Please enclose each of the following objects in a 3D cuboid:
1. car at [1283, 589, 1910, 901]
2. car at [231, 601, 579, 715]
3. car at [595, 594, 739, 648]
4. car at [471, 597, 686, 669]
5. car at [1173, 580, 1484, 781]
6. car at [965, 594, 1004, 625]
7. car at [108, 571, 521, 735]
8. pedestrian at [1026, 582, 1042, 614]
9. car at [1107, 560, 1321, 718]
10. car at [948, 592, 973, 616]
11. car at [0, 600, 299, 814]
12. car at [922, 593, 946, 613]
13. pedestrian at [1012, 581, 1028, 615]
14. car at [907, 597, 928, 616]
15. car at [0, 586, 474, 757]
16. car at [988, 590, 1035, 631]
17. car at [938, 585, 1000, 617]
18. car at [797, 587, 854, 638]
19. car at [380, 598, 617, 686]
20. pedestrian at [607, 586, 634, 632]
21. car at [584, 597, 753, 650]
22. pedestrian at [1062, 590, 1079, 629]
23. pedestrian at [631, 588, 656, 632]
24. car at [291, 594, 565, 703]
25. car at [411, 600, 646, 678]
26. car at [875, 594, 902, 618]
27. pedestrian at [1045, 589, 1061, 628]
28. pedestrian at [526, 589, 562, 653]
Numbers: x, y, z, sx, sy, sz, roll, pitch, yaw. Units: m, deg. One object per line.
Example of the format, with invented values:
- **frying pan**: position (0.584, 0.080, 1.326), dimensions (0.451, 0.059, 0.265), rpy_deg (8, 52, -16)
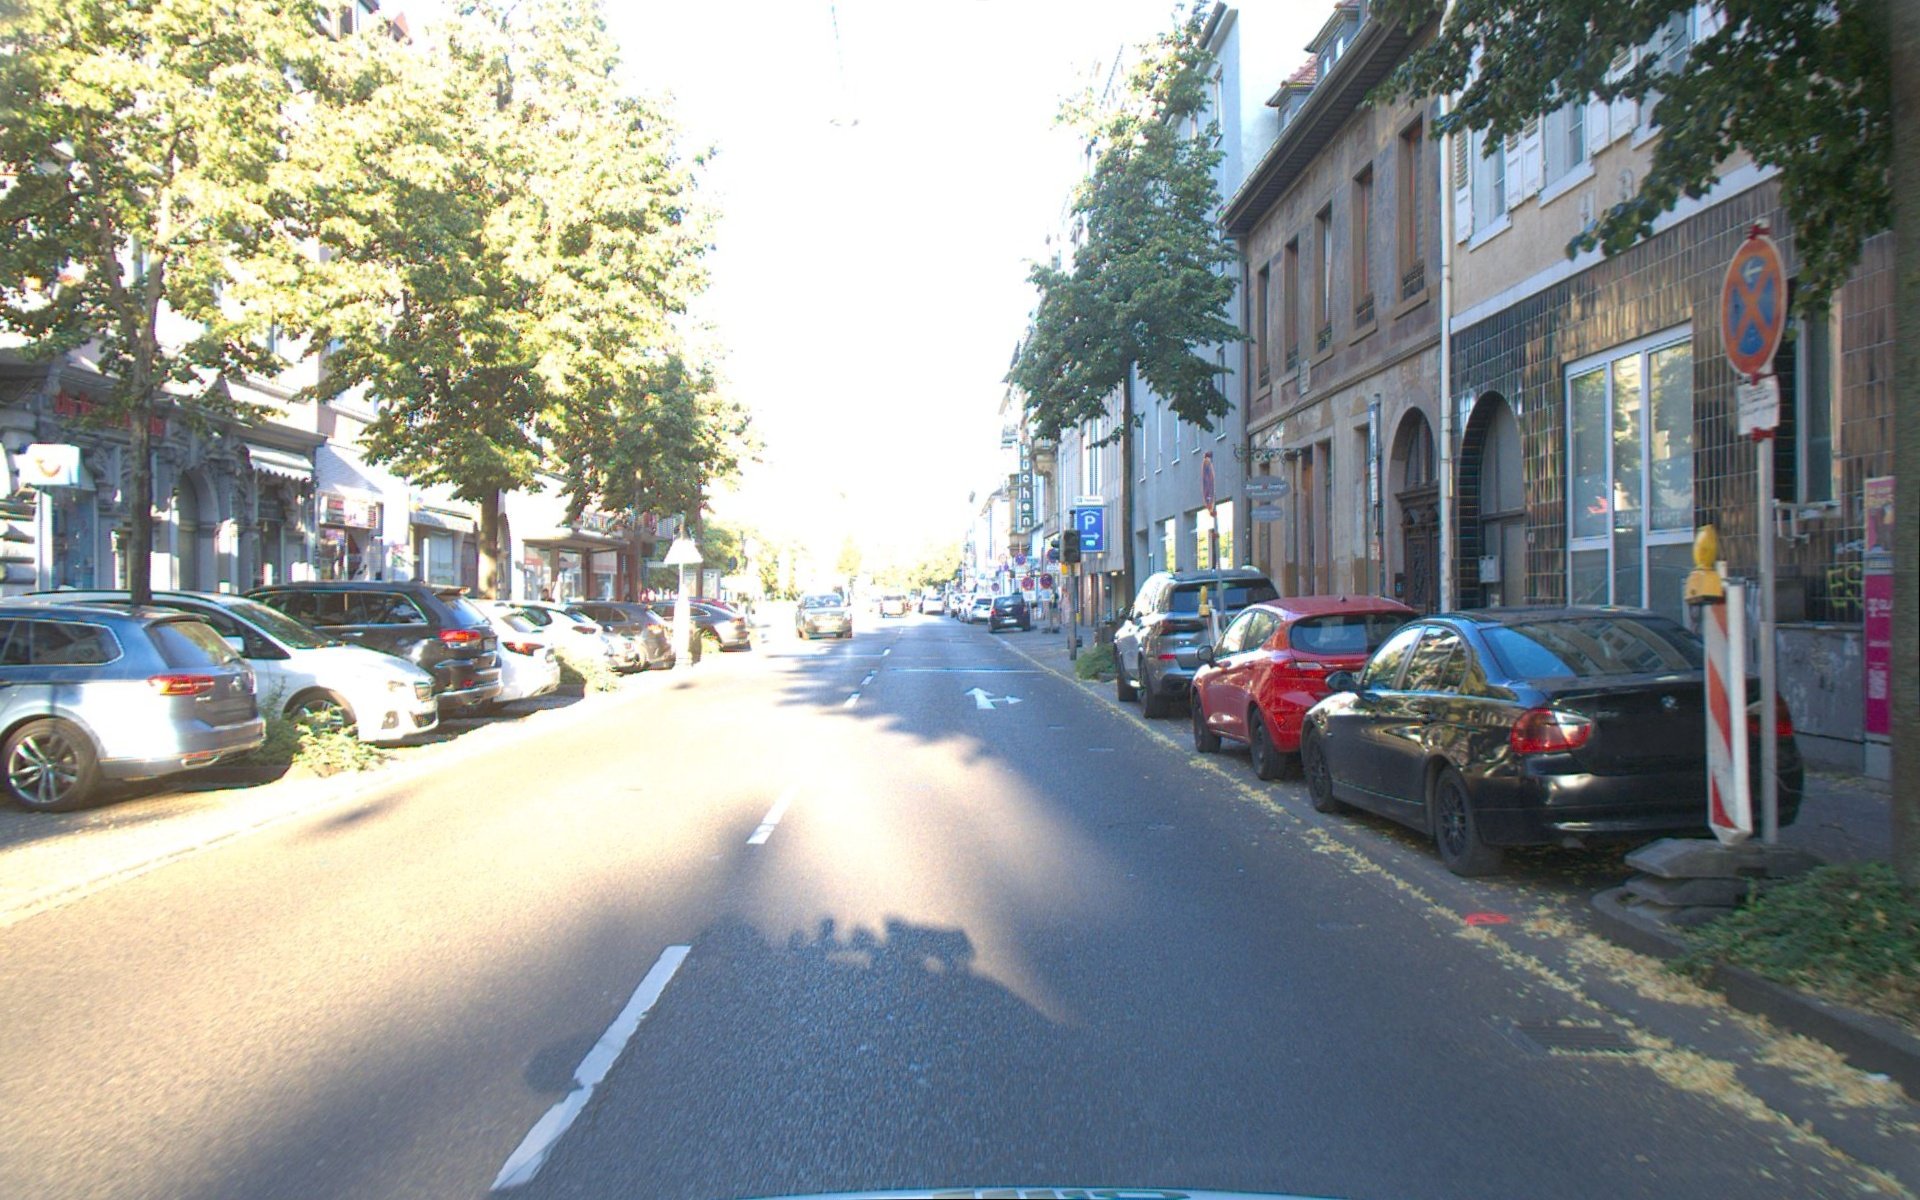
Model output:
- **car**: position (3.561, 0.693, 10.295), dimensions (1.913, 1.414, 4.421), rpy_deg (-3, 0, -4)
- **car**: position (-7.327, 0.755, 22.158), dimensions (4.067, 1.446, 1.765), rpy_deg (0, 0, -4)
- **car**: position (-8.759, 0.611, 49.634), dimensions (3.990, 1.563, 1.883), rpy_deg (0, 0, -2)
- **car**: position (-7.777, 0.657, 34.027), dimensions (4.025, 1.428, 1.883), rpy_deg (0, 0, -4)
- **car**: position (3.198, 0.631, 15.160), dimensions (1.695, 1.513, 3.897), rpy_deg (-3, 0, -4)
- **car**: position (1.264, 0.502, 88.141), dimensions (1.724, 1.563, 4.818), rpy_deg (1, -1, -3)
- **car**: position (-7.393, 0.590, 19.281), dimensions (4.067, 1.804, 1.888), rpy_deg (0, 0, -4)
- **pedestrian**: position (4.173, -0.120, 93.008), dimensions (0.757, 1.741, 1.041), rpy_deg (-2, 0, -2)
- **car**: position (3.206, 0.443, 21.849), dimensions (1.997, 1.767, 4.710), rpy_deg (-3, 0, -1)
- **car**: position (0.006, 0.307, 122.126), dimensions (1.695, 1.679, 4.283), rpy_deg (1, 0, -2)
- **car**: position (-7.621, 0.768, 12.602), dimensions (4.458, 1.510, 1.743), rpy_deg (0, 0, -5)
- **car**: position (-2.167, 0.275, 136.245), dimensions (1.858, 1.609, 3.998), rpy_deg (1, 0, -2)
- **pedestrian**: position (3.394, -0.100, 92.943), dimensions (0.757, 1.859, 1.010), rpy_deg (-2, 0, -2)
- **car**: position (-3.871, 0.572, 149.747), dimensions (1.858, 1.609, 3.850), rpy_deg (2, 0, -2)
- **car**: position (-7.426, 0.690, 16.985), dimensions (4.318, 1.624, 1.889), rpy_deg (0, 1, -3)
- **car**: position (2.134, 0.432, 69.386), dimensions (1.723, 1.563, 4.000), rpy_deg (-4, 0, 0)
- **car**: position (0.479, 0.069, 95.836), dimensions (1.967, 1.792, 4.432), rpy_deg (-1, 0, -24)
- **car**: position (-4.933, 0.418, 61.179), dimensions (1.824, 1.721, 4.459), rpy_deg (-1, 1, -2)
- **car**: position (-7.974, 0.706, 28.826), dimensions (3.664, 1.469, 1.804), rpy_deg (0, 0, -4)
- **pedestrian**: position (-12.113, 0.328, 59.070), dimensions (0.756, 1.636, 0.875), rpy_deg (1, -2, -1)
- **car**: position (-8.172, 0.652, 46.606), dimensions (4.479, 1.432, 1.820), rpy_deg (0, 0, -3)
- **pedestrian**: position (4.594, 0.380, 68.833), dimensions (0.592, 1.627, 0.773), rpy_deg (0, 0, -2)
- **pedestrian**: position (-11.340, 0.362, 59.283), dimensions (0.719, 1.555, 0.875), rpy_deg (1, -2, -1)
- **car**: position (-7.749, 0.685, 24.338), dimensions (3.485, 1.528, 1.715), rpy_deg (0, 0, -3)
- **car**: position (-8.219, 0.732, 31.780), dimensions (4.013, 1.428, 1.843), rpy_deg (0, 0, 0)
- **car**: position (-4.997, 0.436, 116.560), dimensions (1.858, 1.678, 4.103), rpy_deg (0, 0, -2)
- **pedestrian**: position (3.853, 0.356, 68.666), dimensions (0.592, 1.627, 0.773), rpy_deg (0, 0, -2)
- **pedestrian**: position (-11.479, 0.588, 45.618), dimensions (0.756, 1.752, 0.875), rpy_deg (1, -2, -1)
